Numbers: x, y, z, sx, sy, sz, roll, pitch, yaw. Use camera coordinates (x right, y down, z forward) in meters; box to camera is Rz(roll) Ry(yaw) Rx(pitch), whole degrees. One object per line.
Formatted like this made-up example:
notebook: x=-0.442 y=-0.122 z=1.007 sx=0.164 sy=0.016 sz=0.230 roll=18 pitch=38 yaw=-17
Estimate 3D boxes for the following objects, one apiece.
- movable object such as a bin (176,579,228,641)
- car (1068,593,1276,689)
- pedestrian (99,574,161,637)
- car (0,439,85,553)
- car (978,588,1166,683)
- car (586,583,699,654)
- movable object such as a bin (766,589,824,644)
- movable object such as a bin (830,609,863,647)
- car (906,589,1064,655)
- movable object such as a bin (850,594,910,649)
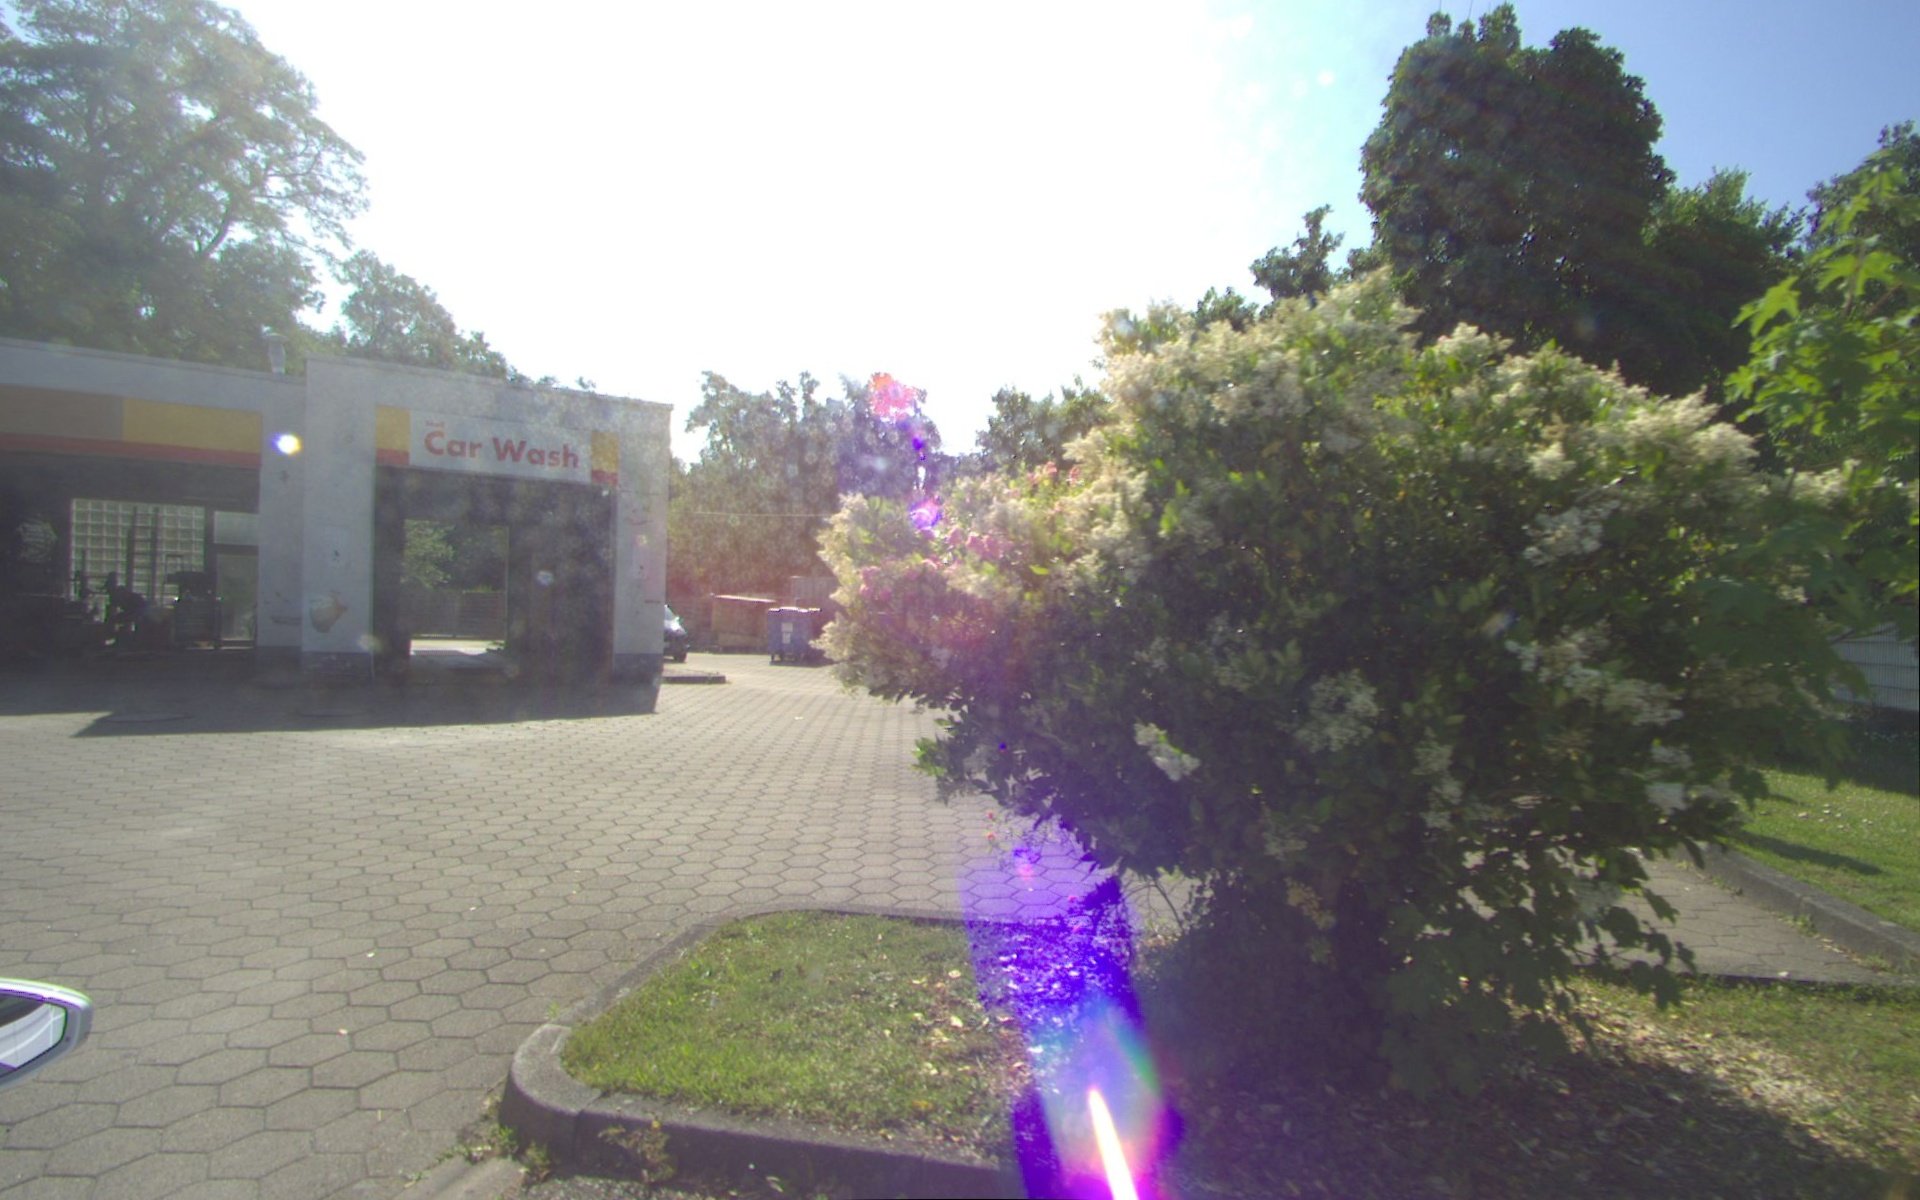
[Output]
movable object such as a bin: x=-15.643 y=0.210 z=20.687 sx=0.788 sy=1.252 sz=0.541 roll=1 pitch=-1 yaw=-32
car: x=4.081 y=0.768 z=19.037 sx=3.891 sy=1.650 sz=1.672 roll=2 pitch=0 yaw=-36
pedestrian: x=-16.443 y=0.121 z=19.849 sx=0.855 sy=1.213 sz=0.738 roll=1 pitch=-1 yaw=-35
car: x=-16.298 y=-1.706 z=16.869 sx=1.629 sy=1.505 sz=3.978 roll=1 pitch=-2 yaw=-31
car: x=2.418 y=0.666 z=21.325 sx=3.889 sy=1.817 sz=1.671 roll=-1 pitch=2 yaw=-36
car: x=-7.731 y=0.467 z=24.246 sx=1.705 sy=1.595 sz=3.370 roll=1 pitch=-2 yaw=-34
movable object such as a bin: x=-4.200 y=0.415 z=25.573 sx=1.211 sy=1.342 sz=0.849 roll=2 pitch=0 yaw=10
movable object such as a bin: x=-2.873 y=0.711 z=25.375 sx=0.484 sy=0.922 sz=0.865 roll=2 pitch=0 yaw=17
car: x=0.628 y=0.544 z=24.420 sx=3.464 sy=1.458 sz=1.673 roll=2 pitch=2 yaw=-33
movable object such as a bin: x=-1.997 y=0.537 z=25.086 sx=1.213 sy=1.306 sz=0.865 roll=2 pitch=0 yaw=19
